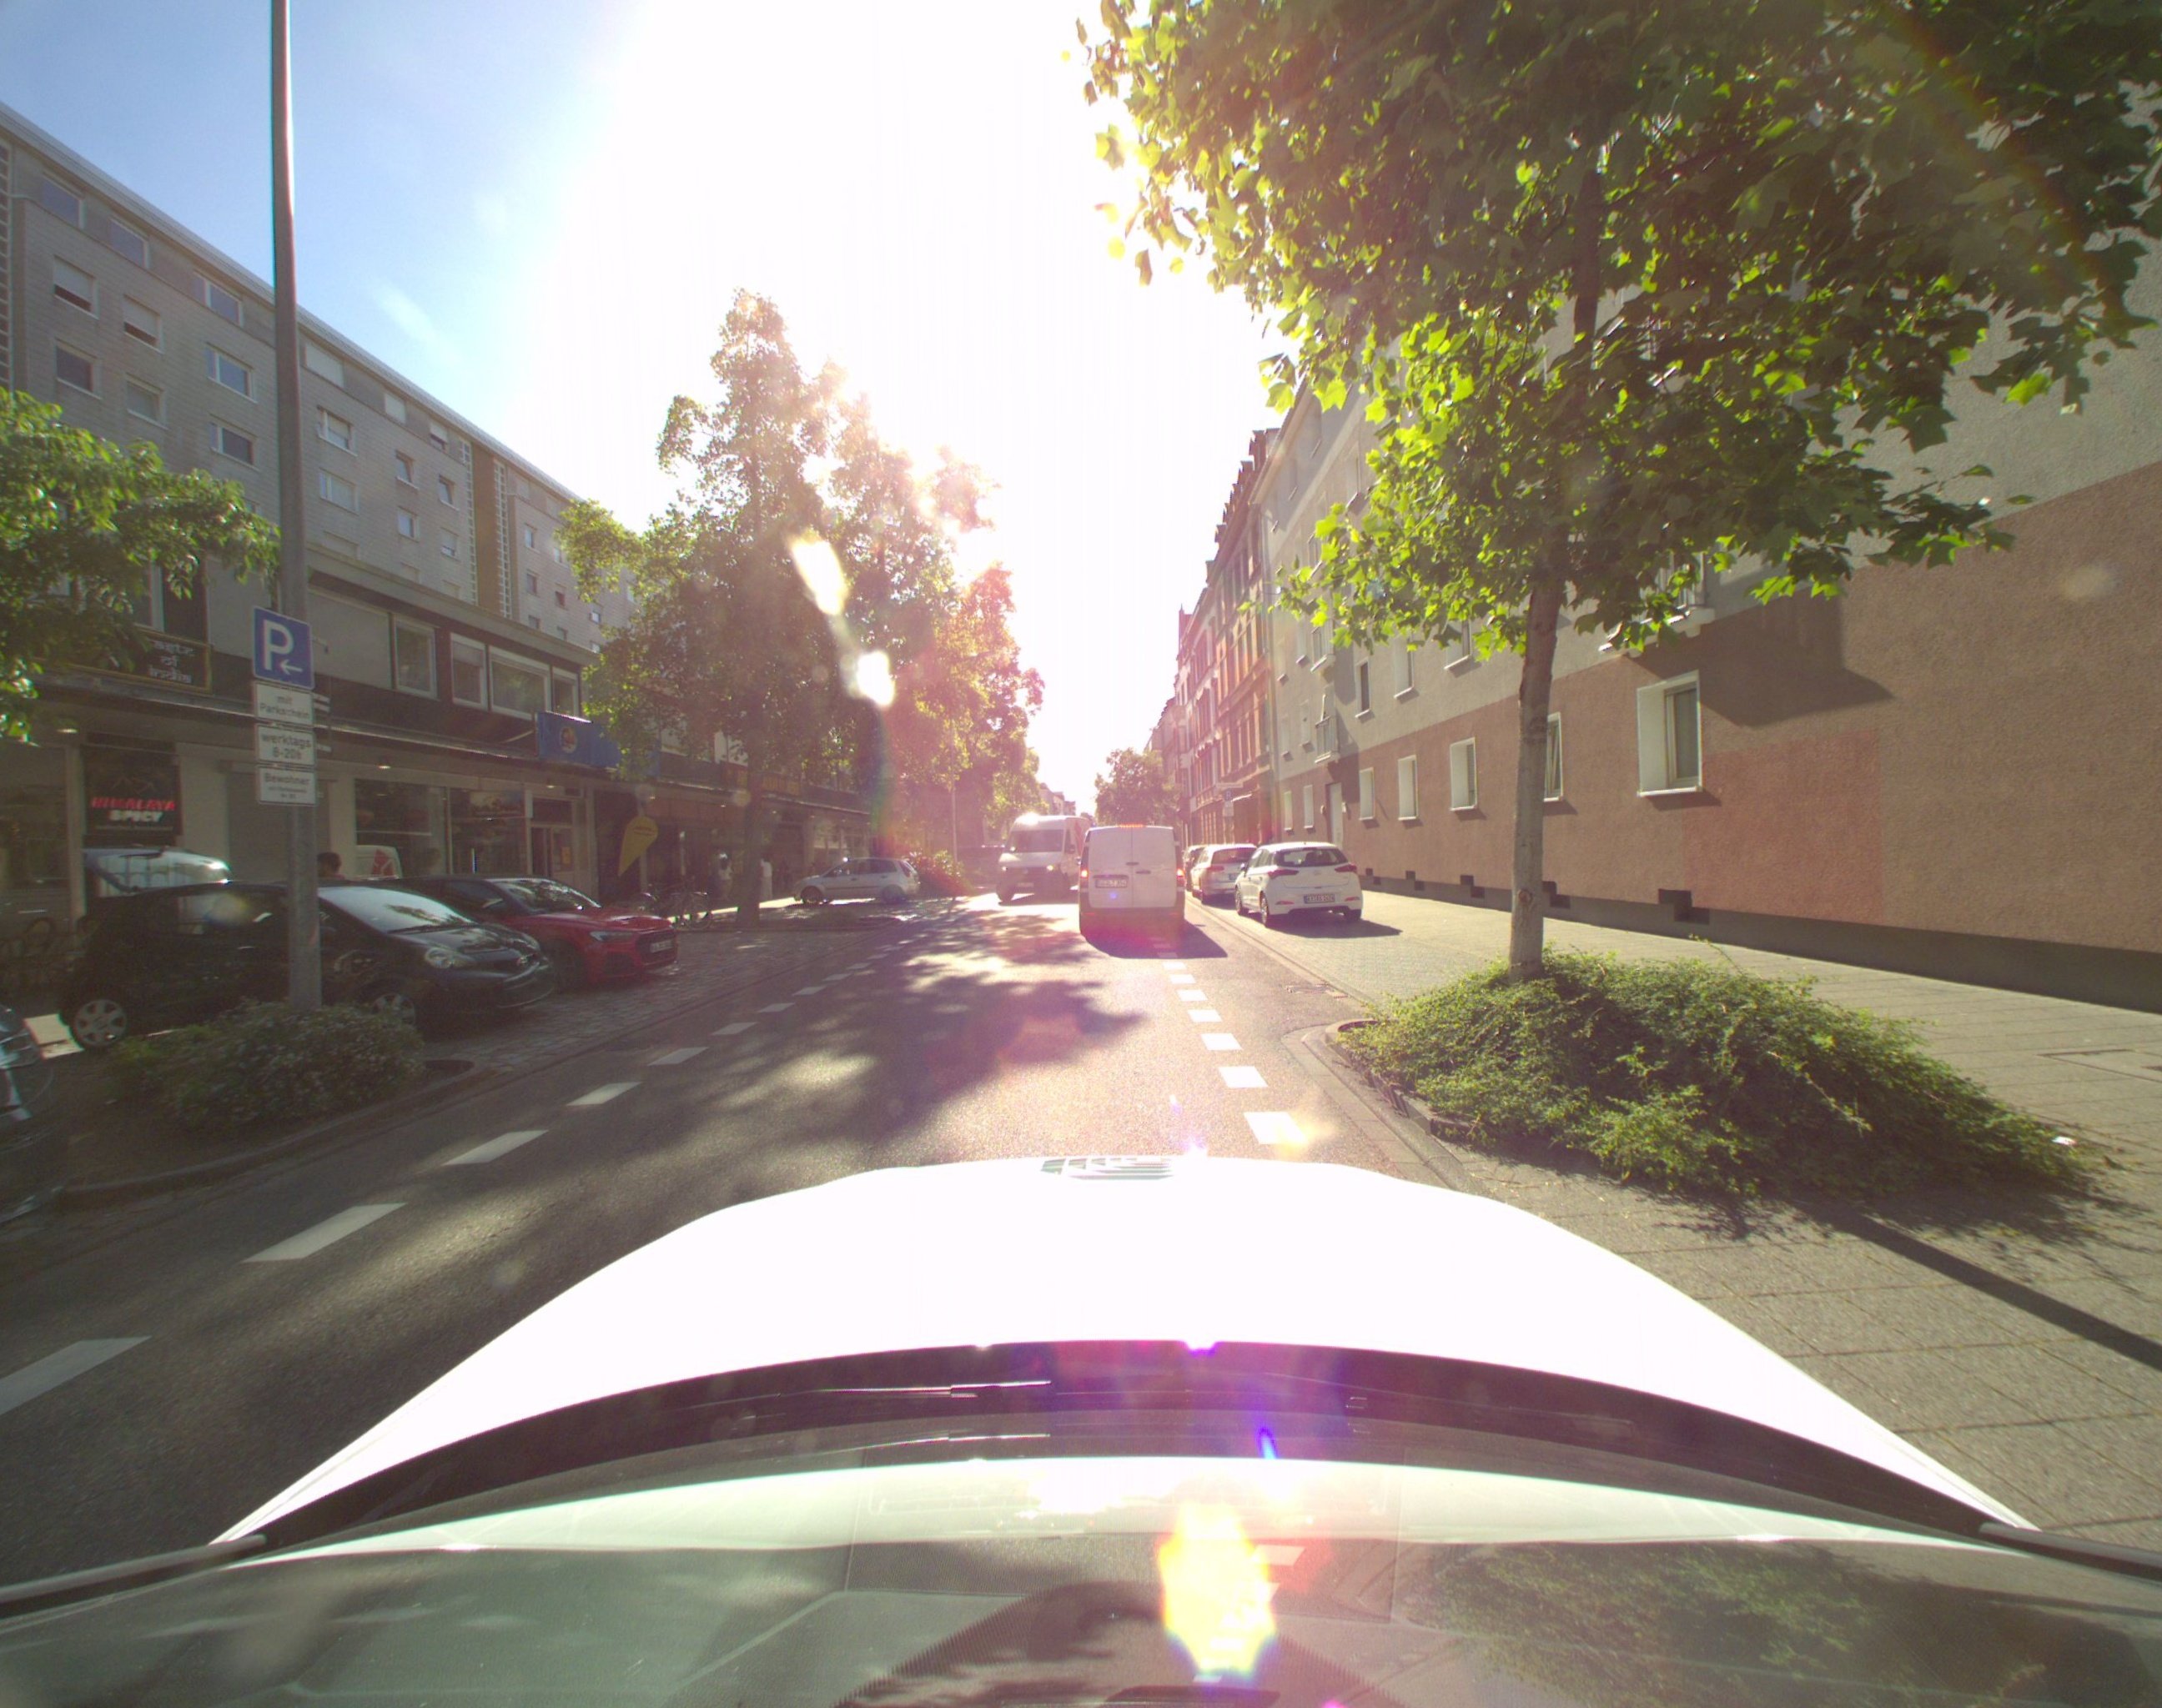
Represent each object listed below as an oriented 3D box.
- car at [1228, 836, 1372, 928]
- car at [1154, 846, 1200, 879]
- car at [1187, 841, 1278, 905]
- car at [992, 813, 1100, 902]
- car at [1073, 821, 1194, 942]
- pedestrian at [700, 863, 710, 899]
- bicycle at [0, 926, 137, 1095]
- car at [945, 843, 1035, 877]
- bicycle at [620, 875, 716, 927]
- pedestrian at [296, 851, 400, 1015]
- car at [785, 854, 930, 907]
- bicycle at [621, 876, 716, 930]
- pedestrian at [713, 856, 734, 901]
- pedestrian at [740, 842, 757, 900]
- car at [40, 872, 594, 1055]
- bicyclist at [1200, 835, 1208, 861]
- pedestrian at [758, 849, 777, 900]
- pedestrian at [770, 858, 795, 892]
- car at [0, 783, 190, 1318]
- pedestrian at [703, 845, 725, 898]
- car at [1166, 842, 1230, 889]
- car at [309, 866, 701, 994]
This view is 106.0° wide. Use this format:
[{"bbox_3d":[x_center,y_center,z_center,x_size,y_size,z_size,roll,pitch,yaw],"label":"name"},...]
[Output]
[{"bbox_3d":[4.116,0.468,15.941,1.726,1.486,3.794,-4,0,0],"label":"car"},{"bbox_3d":[4.605,0.363,39.501,1.733,1.451,4.000,-2,0,0],"label":"car"},{"bbox_3d":[3.957,0.442,21.995,1.778,1.460,4.520,-3,0,3],"label":"car"},{"bbox_3d":[-0.943,0.046,26.448,1.981,2.473,6.623,-2,1,10],"label":"car"},{"bbox_3d":[0.853,0.411,15.493,1.914,1.914,4.888,-1,1,0],"label":"car"},{"bbox_3d":[-13.076,0.934,28.318,0.212,1.244,0.215,-1,0,2],"label":"pedestrian"},{"bbox_3d":[-7.838,1.090,5.579,1.859,1.039,0.614,-2,0,-5],"label":"bicycle"},{"bbox_3d":[-5.581,0.351,50.546,5.274,1.974,2.015,-1,0,0],"label":"car"},{"bbox_3d":[-9.233,1.044,18.250,1.860,1.106,0.587,0,0,3],"label":"bicycle"},{"bbox_3d":[-8.096,0.845,9.001,0.574,1.712,0.639,-2,0,29],"label":"pedestrian"},{"bbox_3d":[-6.947,0.796,25.604,3.974,1.457,1.860,-2,0,-1],"label":"car"},{"bbox_3d":[-8.736,1.027,17.272,1.711,1.117,0.623,0,0,4],"label":"bicycle"},{"bbox_3d":[-11.831,0.802,26.970,0.467,1.473,0.420,-2,0,-2],"label":"pedestrian"},{"bbox_3d":[-11.335,0.577,27.742,0.389,1.934,0.361,-1,0,2],"label":"pedestrian"},{"bbox_3d":[-7.006,0.944,7.797,3.657,1.450,1.612,-1,0,-3],"label":"car"},{"bbox_3d":[7.091,-0.332,46.973,0.359,1.477,0.531,-1,0,5],"label":"bicyclist"},{"bbox_3d":[-10.570,0.672,27.459,0.389,1.705,0.502,-1,0,2],"label":"pedestrian"},{"bbox_3d":[-11.994,0.825,32.737,0.721,1.330,0.703,-1,0,-2],"label":"pedestrian"},{"bbox_3d":[-6.441,0.748,2.626,5.013,1.938,1.873,-1,0,0],"label":"car"},{"bbox_3d":[-12.359,0.584,27.429,0.483,1.782,0.427,-2,0,-2],"label":"pedestrian"},{"bbox_3d":[4.012,0.374,28.473,1.703,1.480,3.711,-2,0,1],"label":"car"},{"bbox_3d":[-7.239,0.922,10.462,3.898,1.450,1.713,-1,0,5],"label":"car"}]
